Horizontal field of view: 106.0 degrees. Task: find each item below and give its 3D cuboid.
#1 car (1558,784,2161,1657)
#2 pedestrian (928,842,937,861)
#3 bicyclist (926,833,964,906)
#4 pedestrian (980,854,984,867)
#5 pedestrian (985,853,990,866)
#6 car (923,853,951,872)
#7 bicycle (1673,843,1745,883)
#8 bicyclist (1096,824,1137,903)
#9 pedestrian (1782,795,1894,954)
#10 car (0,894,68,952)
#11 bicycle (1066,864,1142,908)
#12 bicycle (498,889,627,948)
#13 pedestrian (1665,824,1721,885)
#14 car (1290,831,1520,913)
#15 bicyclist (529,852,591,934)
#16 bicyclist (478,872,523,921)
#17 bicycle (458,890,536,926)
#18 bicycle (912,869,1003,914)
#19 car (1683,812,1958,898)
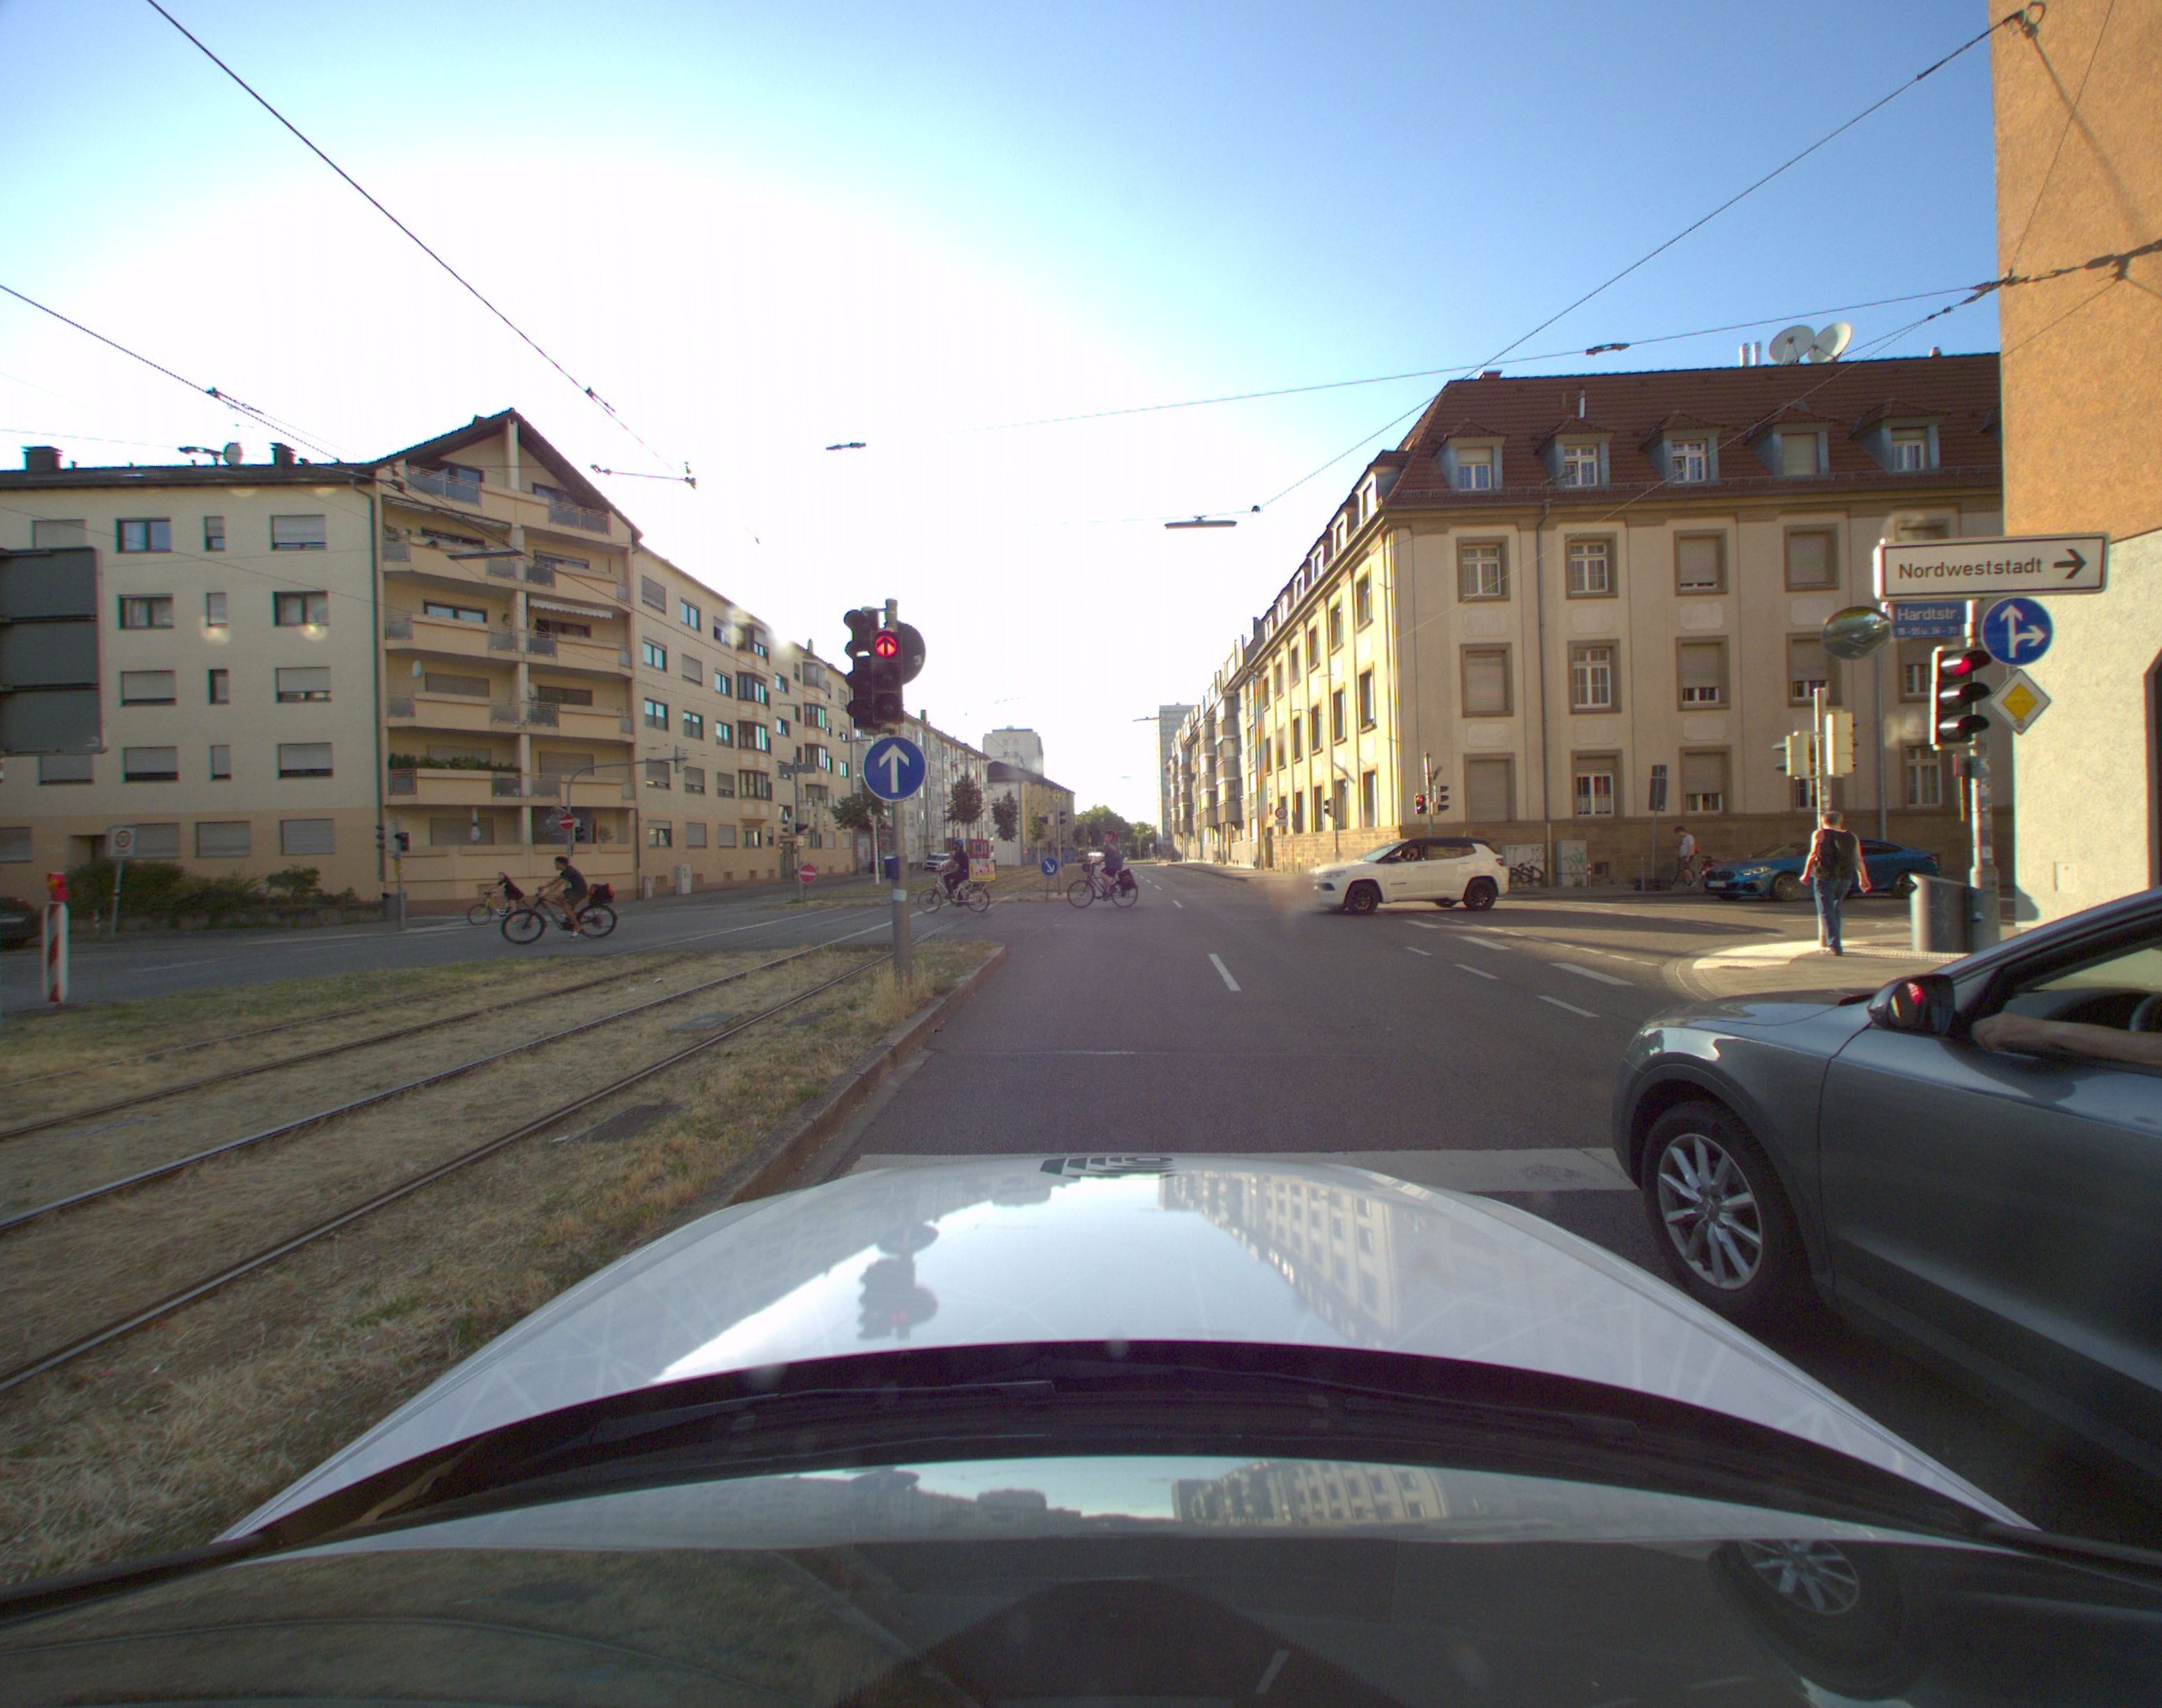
[{"bbox_3d":[2.800,0.632,1.281,1.763,1.575,4.087,-2,0,2],"label":"car"},{"bbox_3d":[-15.856,-0.308,87.128,0.784,2.013,0.890,-2,0,-2],"label":"pedestrian"},{"bbox_3d":[-3.311,0.381,19.887,0.791,1.753,0.720,0,-1,0],"label":"bicyclist"},{"bbox_3d":[-13.337,0.886,109.891,0.493,1.658,0.409,-2,0,2],"label":"pedestrian"},{"bbox_3d":[-12.662,0.731,110.294,0.493,1.658,0.409,-2,0,2],"label":"pedestrian"},{"bbox_3d":[-14.413,0.860,81.847,1.804,1.798,4.248,0,-1,3],"label":"car"},{"bbox_3d":[18.447,0.270,23.946,1.556,1.117,0.669,-2,0,2],"label":"bicycle"},{"bbox_3d":[0.912,0.232,21.170,0.957,1.988,0.672,-2,0,-1],"label":"bicyclist"},{"bbox_3d":[9.246,0.248,9.975,0.690,1.875,0.718,0,-1,1],"label":"pedestrian"},{"bbox_3d":[-30.005,1.913,21.484,3.952,1.440,1.787,-2,0,-6],"label":"car"},{"bbox_3d":[0.600,0.820,21.228,1.938,1.094,0.575,-1,0,-1],"label":"bicycle"},{"bbox_3d":[-10.174,1.237,16.015,1.996,0.893,0.777,-6,2,-41],"label":"bicycle"},{"bbox_3d":[17.437,0.003,23.214,1.033,1.682,0.669,-2,0,1],"label":"pedestrian"},{"bbox_3d":[7.216,0.385,18.449,4.408,1.641,1.998,-1,0,-3],"label":"car"},{"bbox_3d":[-10.226,0.740,15.981,0.911,1.526,0.640,-2,0,-40],"label":"bicyclist"},{"bbox_3d":[-18.154,1.323,25.468,0.522,1.447,0.971,-2,0,32],"label":"bicyclist"},{"bbox_3d":[-18.181,1.668,25.383,0.522,0.984,1.895,-2,0,32],"label":"bicycle"},{"bbox_3d":[-3.001,0.903,19.863,2.066,0.958,0.746,-2,0,-1],"label":"bicycle"},{"bbox_3d":[16.792,0.041,18.689,4.444,1.729,2.000,-2,-1,1],"label":"car"}]
